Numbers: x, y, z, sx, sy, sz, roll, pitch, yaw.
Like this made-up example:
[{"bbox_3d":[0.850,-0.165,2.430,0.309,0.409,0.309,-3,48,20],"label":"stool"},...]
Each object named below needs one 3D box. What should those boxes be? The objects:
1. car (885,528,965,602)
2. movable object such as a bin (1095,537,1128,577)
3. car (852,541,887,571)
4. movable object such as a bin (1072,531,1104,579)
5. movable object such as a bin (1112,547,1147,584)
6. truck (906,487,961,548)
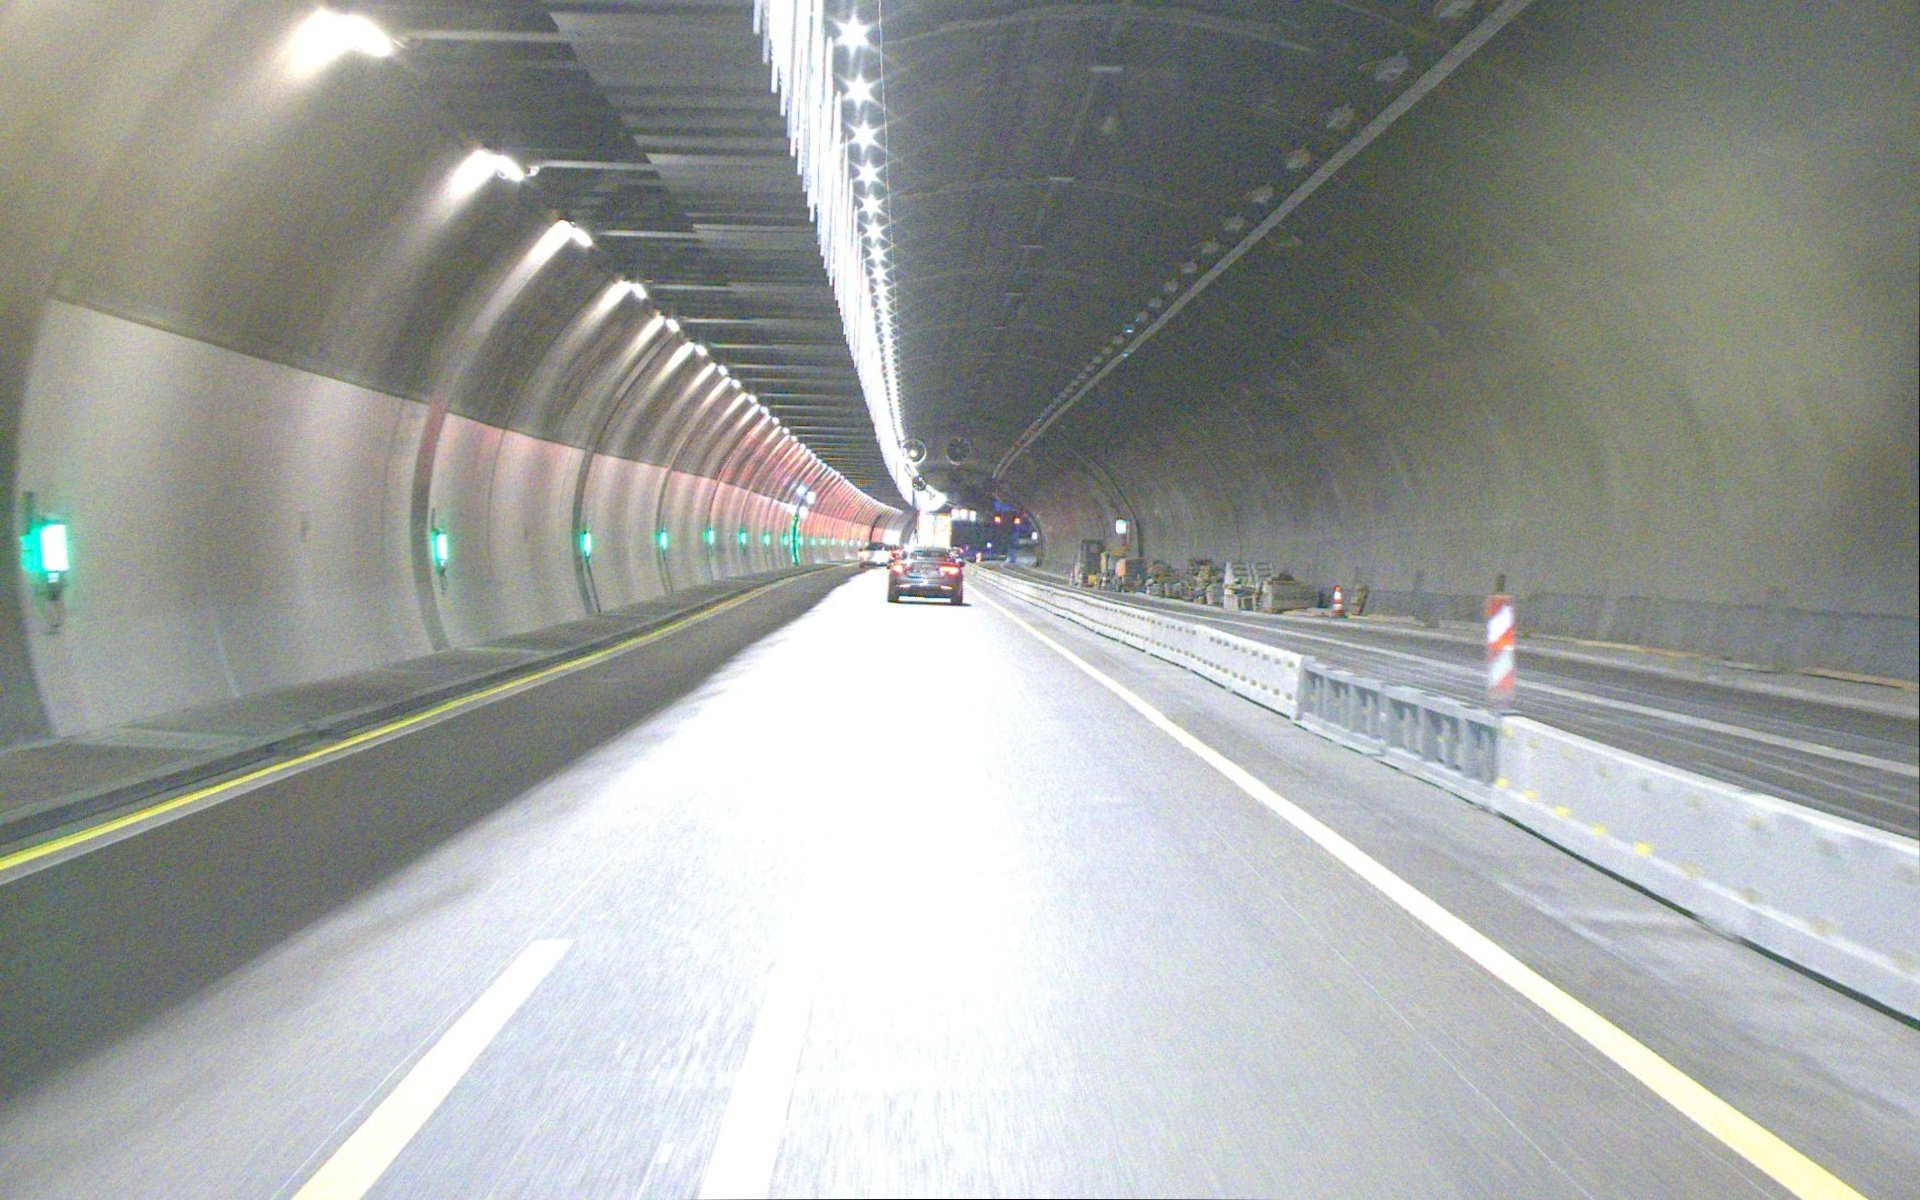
[{"bbox_3d":[-0.898,-0.896,86.212,1.946,1.788,4.000,0,1,-1],"label":"car"},{"bbox_3d":[6.649,-1.898,151.131,1.234,1.713,2.217,2,1,-1],"label":"movable object such as a bin"},{"bbox_3d":[-5.169,-2.521,196.347,1.930,1.681,4.000,0,1,0],"label":"car"},{"bbox_3d":[5.860,-2.084,157.757,1.234,2.133,2.217,2,1,-1],"label":"movable object such as a bin"},{"bbox_3d":[6.893,-1.424,139.817,1.234,1.437,2.217,2,1,-1],"label":"movable object such as a bin"},{"bbox_3d":[-2.083,-6.381,267.288,4.066,4.517,14.966,0,1,-1],"label":"truck"}]
